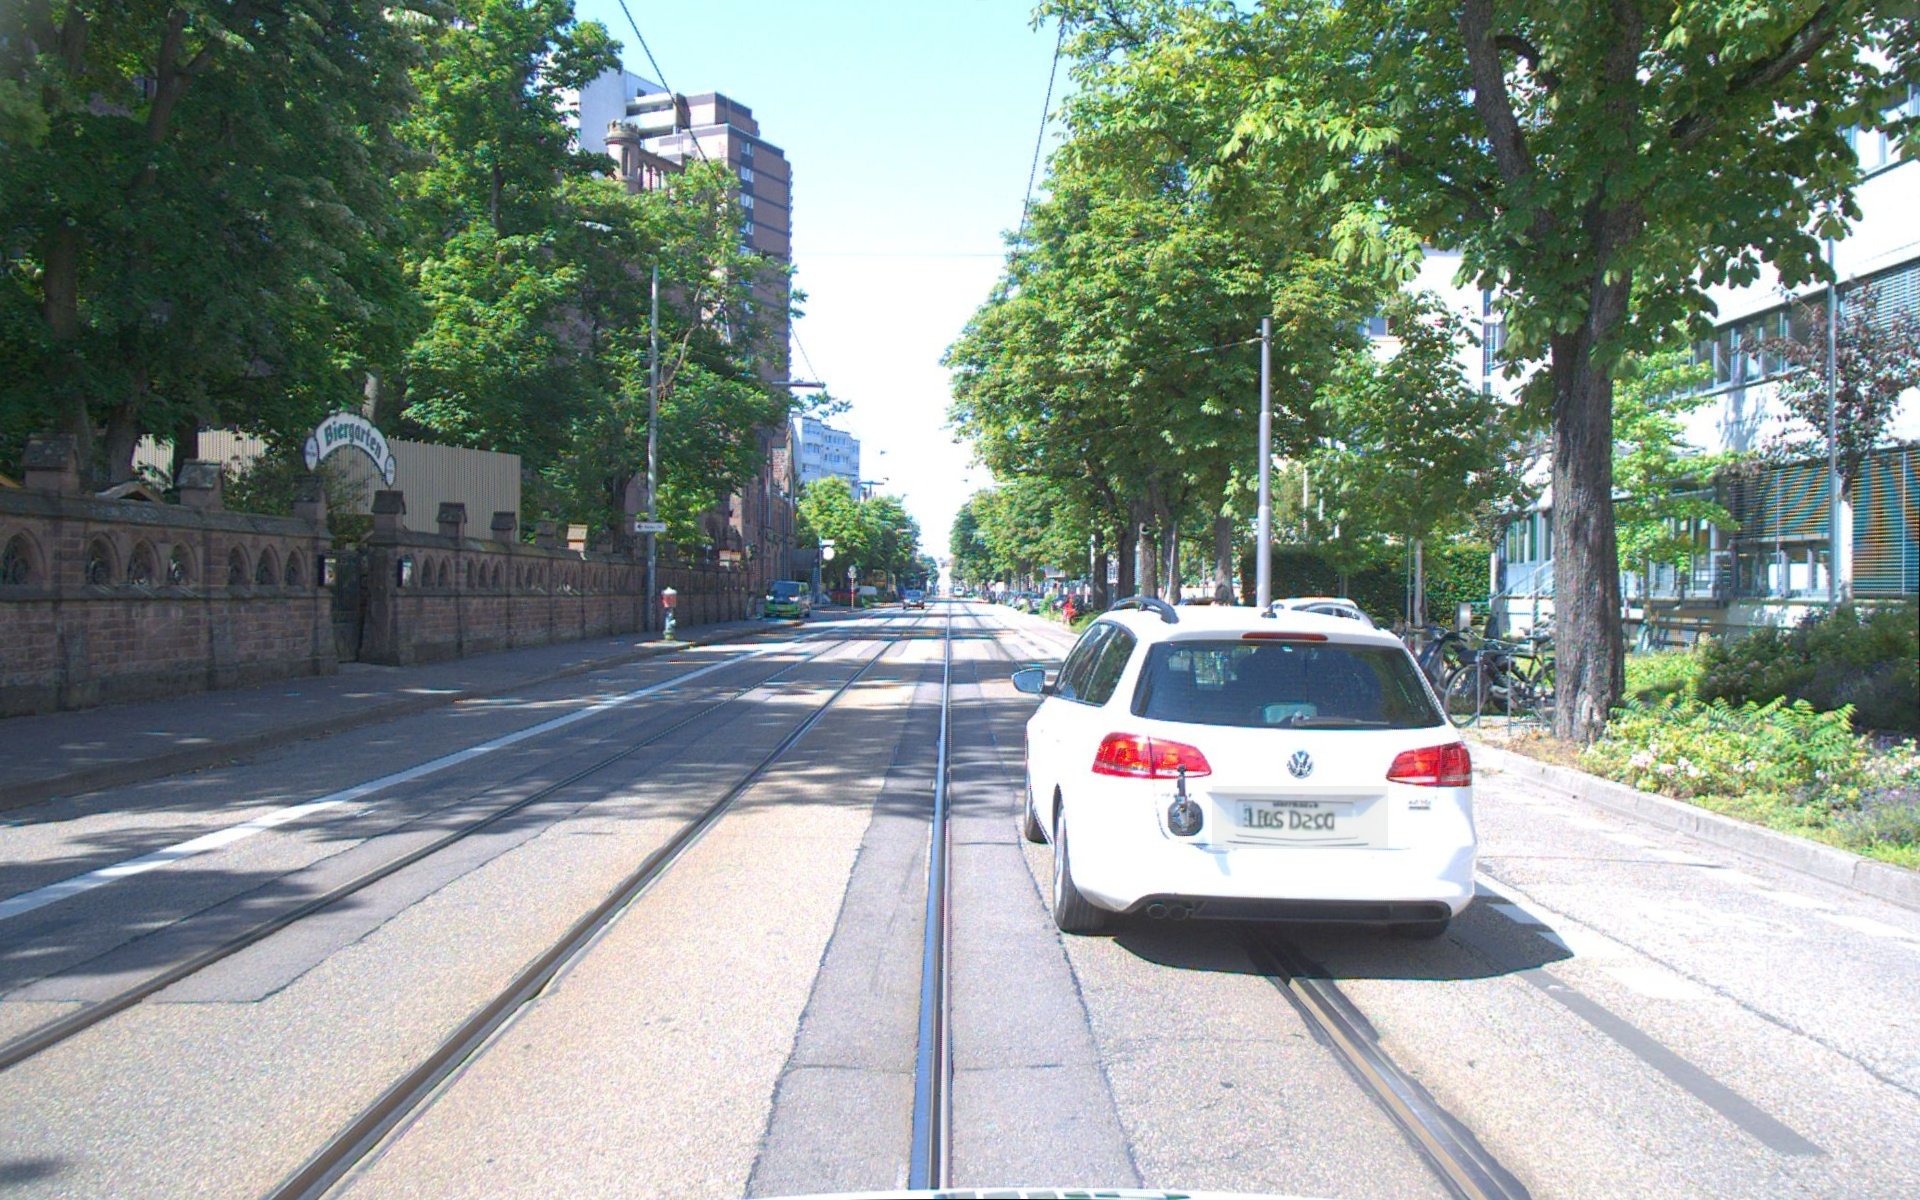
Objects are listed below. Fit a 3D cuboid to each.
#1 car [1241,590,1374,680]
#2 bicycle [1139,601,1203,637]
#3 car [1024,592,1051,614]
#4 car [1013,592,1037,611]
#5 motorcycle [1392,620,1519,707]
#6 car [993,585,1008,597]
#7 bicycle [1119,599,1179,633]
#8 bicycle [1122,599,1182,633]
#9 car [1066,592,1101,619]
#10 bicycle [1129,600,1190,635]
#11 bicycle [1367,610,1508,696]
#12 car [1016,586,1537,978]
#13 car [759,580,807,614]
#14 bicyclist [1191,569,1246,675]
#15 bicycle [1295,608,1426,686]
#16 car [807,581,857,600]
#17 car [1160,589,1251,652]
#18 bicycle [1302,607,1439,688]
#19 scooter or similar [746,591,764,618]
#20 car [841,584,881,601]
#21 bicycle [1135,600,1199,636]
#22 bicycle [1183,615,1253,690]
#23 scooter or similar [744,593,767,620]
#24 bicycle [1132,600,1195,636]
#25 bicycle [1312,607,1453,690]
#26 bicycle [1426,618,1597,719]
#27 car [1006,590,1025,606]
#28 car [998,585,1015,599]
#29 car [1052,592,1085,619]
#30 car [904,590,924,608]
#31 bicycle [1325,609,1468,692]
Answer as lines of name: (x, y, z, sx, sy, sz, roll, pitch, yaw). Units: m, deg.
car: (6.100, 0.568, 29.426, 1.558, 1.476, 3.946, 0, 1, 0)
bicycle: (6.010, 0.539, 47.189, 1.752, 1.028, 0.487, 0, 0, -5)
car: (5.248, 0.181, 112.249, 1.678, 1.425, 3.843, 0, 0, 0)
car: (5.103, 0.123, 129.972, 1.678, 1.425, 3.842, 0, 0, -1)
motorcycle: (6.230, 0.792, 20.830, 1.436, 1.064, 0.534, 0, 0, -3)
car: (4.787, -1.089, 195.693, 1.678, 1.425, 3.843, 0, 0, 0)
bicycle: (5.794, 0.475, 50.721, 1.752, 1.028, 0.487, 0, 0, -5)
bicycle: (5.835, 0.485, 50.202, 1.752, 1.028, 0.487, 0, 0, -5)
car: (6.006, 0.251, 80.719, 1.677, 1.303, 3.845, 0, 0, 4)
bicycle: (5.899, 0.508, 48.931, 1.752, 1.028, 0.487, 0, 0, -5)
bicycle: (6.469, 0.712, 22.428, 1.738, 1.139, 0.596, 0, 0, -3)
car: (1.280, 0.685, 8.476, 1.718, 1.467, 4.411, 1, 0, -1)
car: (-9.498, -0.182, 89.024, 1.952, 1.788, 4.713, 0, 0, 2)
bicyclist: (4.097, 0.341, 26.261, 0.769, 1.657, 0.738, 0, 0, 0)
bicycle: (6.179, 0.719, 25.527, 1.848, 1.101, 0.550, 2, 0, -3)
car: (-11.414, -0.864, 147.973, 4.059, 1.557, 1.920, 2, 1, -22)
car: (6.081, 0.477, 41.424, 1.630, 1.469, 4.633, 0, 1, 0)
bicycle: (6.168, 0.709, 24.885, 1.873, 1.101, 0.550, 3, 0, -3)
scooter or similar: (-9.437, 0.203, 76.094, 0.413, 1.221, 1.144, 0, 0, 14)
car: (-10.888, -0.791, 181.338, 3.956, 1.847, 1.975, 0, 0, -36)
bicycle: (5.975, 0.529, 47.771, 1.752, 1.028, 0.487, 0, 0, -5)
bicycle: (4.052, 0.806, 26.143, 0.794, 1.097, 2.012, 1, 1, 0)
scooter or similar: (-8.993, 0.276, 72.800, 0.397, 1.175, 1.140, 0, 0, 33)
bicycle: (5.947, 0.519, 48.348, 1.752, 1.028, 0.487, 0, 0, -5)
bicycle: (6.193, 0.709, 24.272, 1.873, 1.101, 0.550, 3, 0, -3)
bicycle: (6.215, 0.766, 18.678, 1.738, 1.102, 0.596, 0, 0, -3)
car: (5.245, -0.216, 155.463, 1.678, 1.425, 3.843, 0, 0, 0)
car: (4.936, -0.872, 175.214, 1.678, 1.425, 3.843, 0, 0, 0)
car: (5.935, 0.277, 90.570, 1.678, 1.425, 3.844, 0, 0, 2)
car: (-3.616, -0.075, 130.006, 1.462, 1.409, 3.643, 0, 0, 0)
bicycle: (6.237, 0.721, 23.674, 1.873, 1.101, 0.550, 2, 0, -3)
